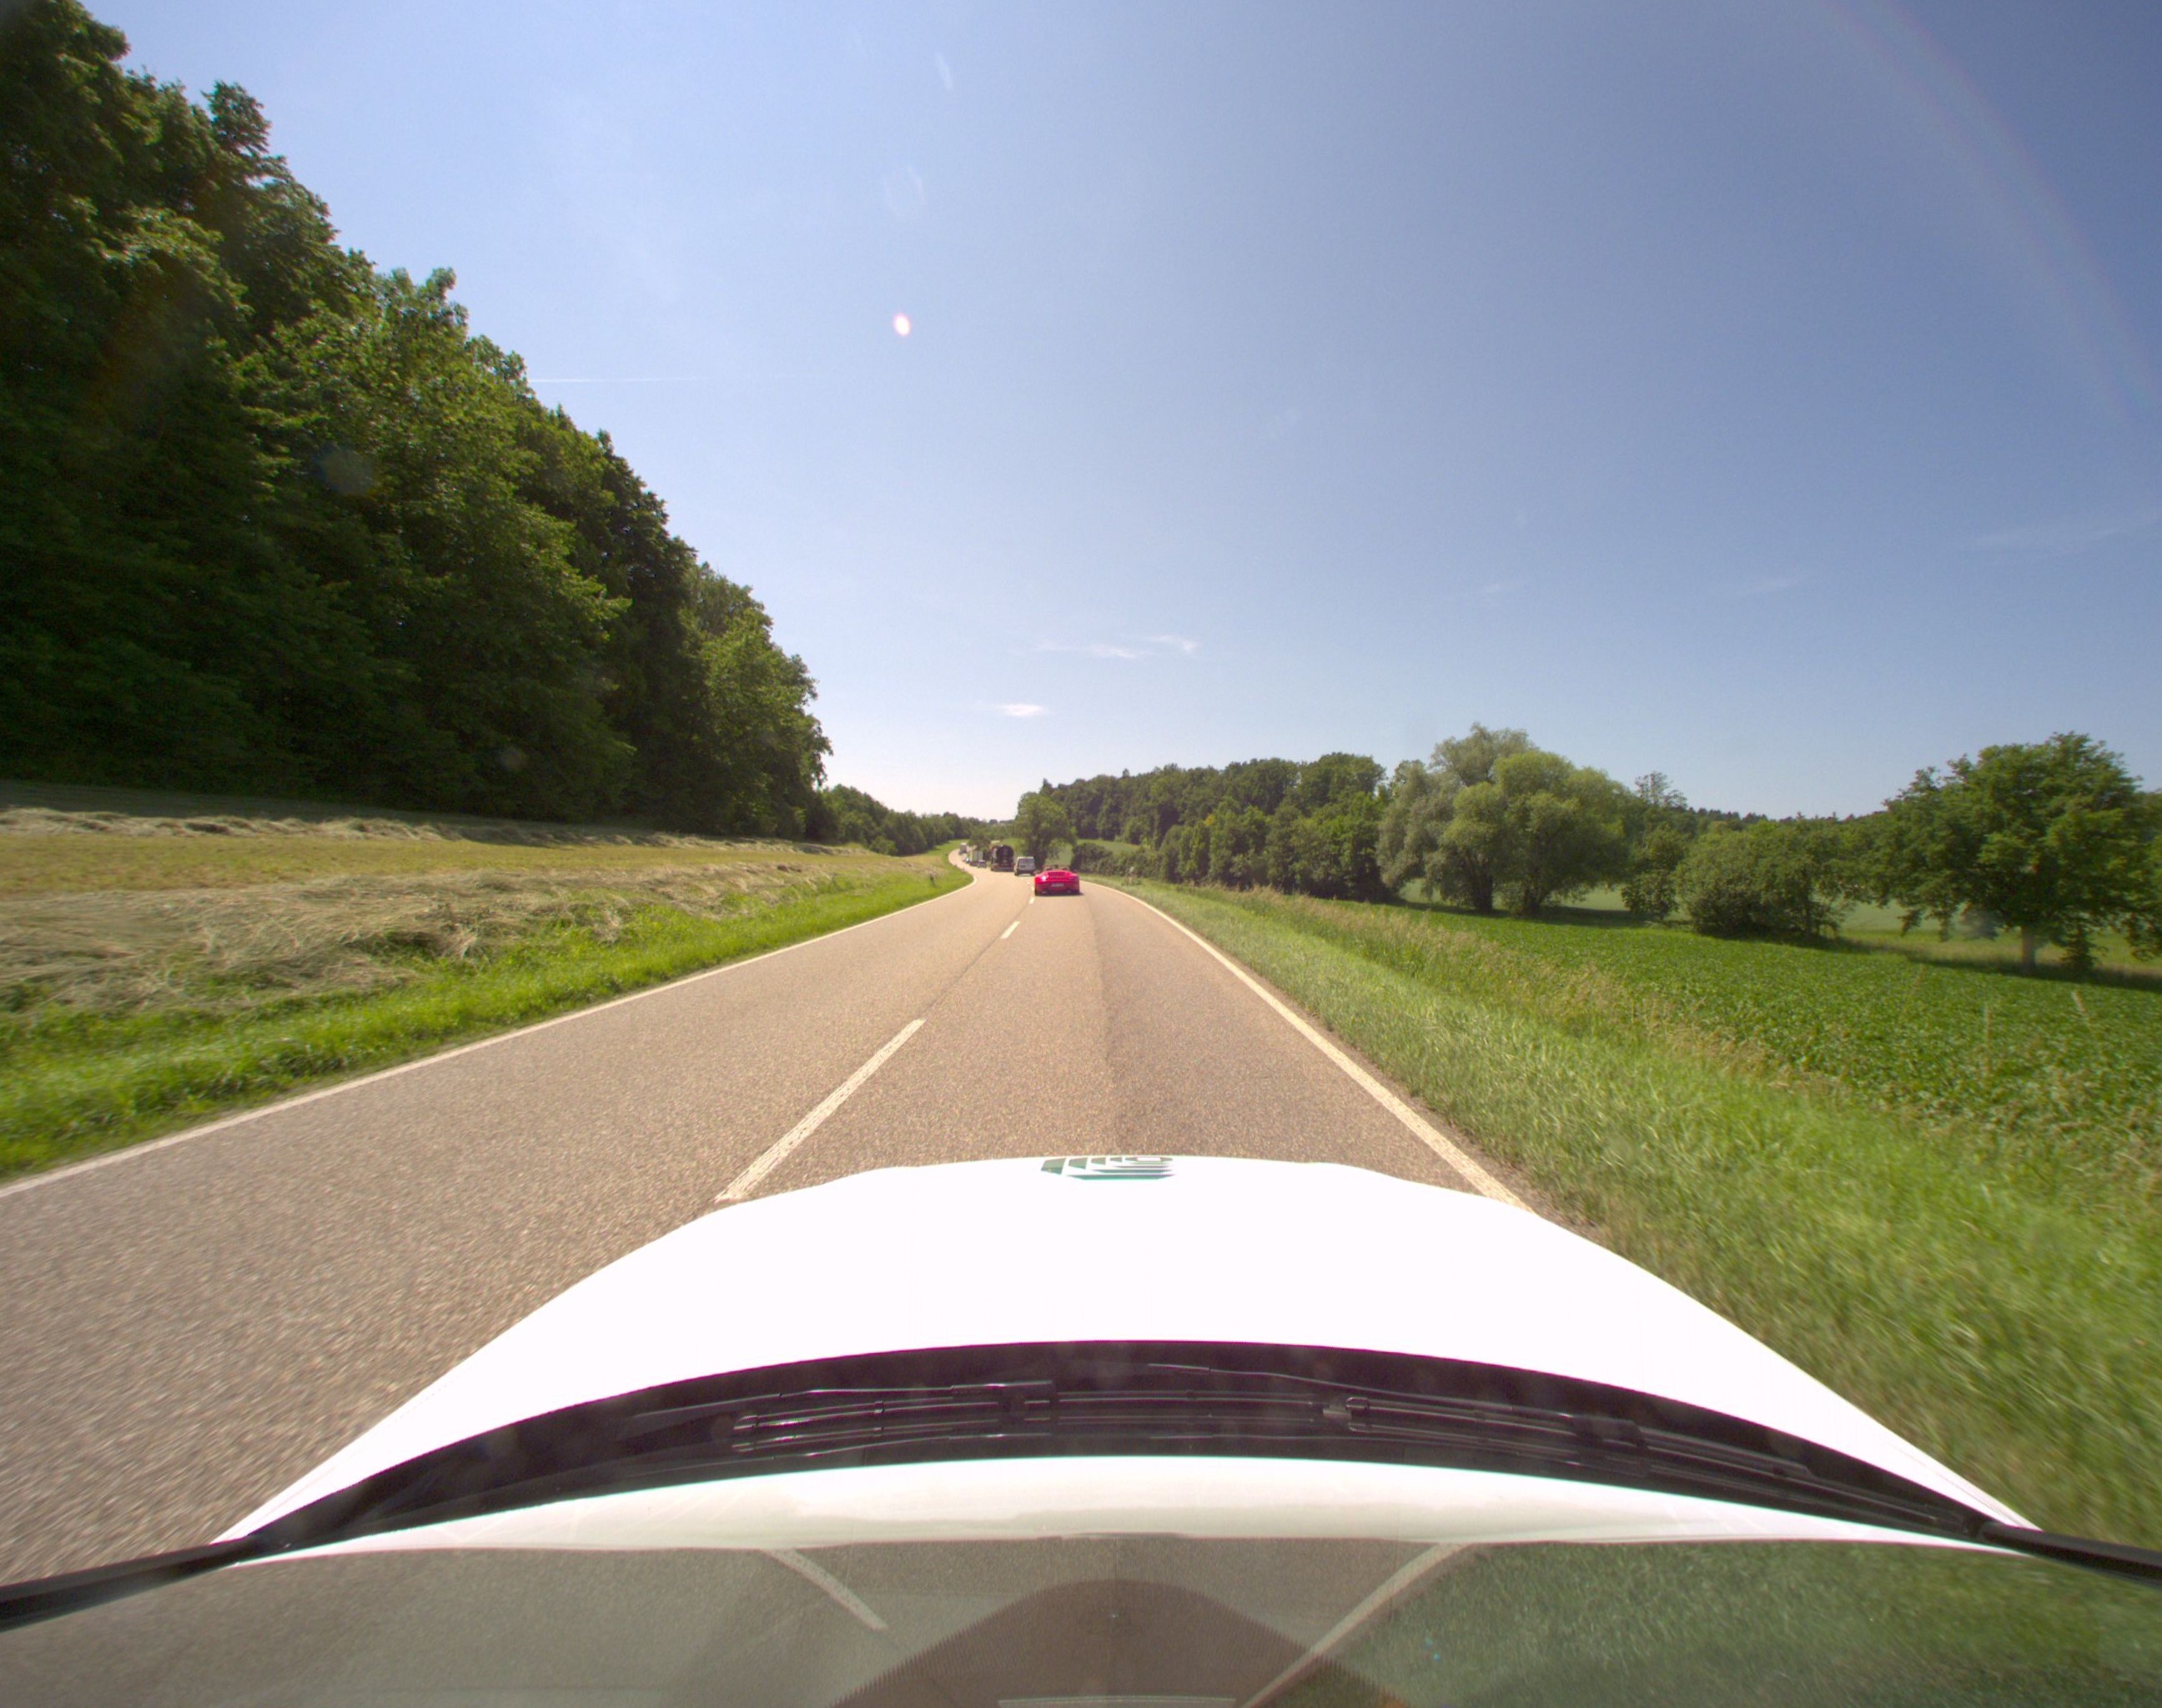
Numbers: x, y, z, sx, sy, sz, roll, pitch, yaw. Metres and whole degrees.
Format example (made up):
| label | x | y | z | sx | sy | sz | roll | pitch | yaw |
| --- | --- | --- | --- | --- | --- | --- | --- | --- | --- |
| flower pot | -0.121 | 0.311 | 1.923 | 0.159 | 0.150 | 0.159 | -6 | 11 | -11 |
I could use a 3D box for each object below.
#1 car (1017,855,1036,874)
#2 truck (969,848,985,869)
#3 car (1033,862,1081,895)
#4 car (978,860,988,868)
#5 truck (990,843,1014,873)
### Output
| label | x | y | z | sx | sy | sz | roll | pitch | yaw |
| --- | --- | --- | --- | --- | --- | --- | --- | --- | --- |
| car | -5.535 | 1.052 | 82.001 | 1.677 | 1.901 | 3.999 | -1 | 0 | -7 |
| truck | -26.111 | 1.009 | 204.065 | 3.725 | 4.659 | 11.994 | 0 | 2 | -9 |
| car | -1.061 | 1.009 | 34.498 | 1.878 | 1.255 | 4.004 | -1 | 0 | -3 |
| car | -19.857 | 1.995 | 164.905 | 1.722 | 1.585 | 4.145 | 0 | -1 | -10 |
| truck | -11.666 | 0.595 | 119.038 | 2.405 | 4.050 | 12.502 | 0 | -1 | -11 |
